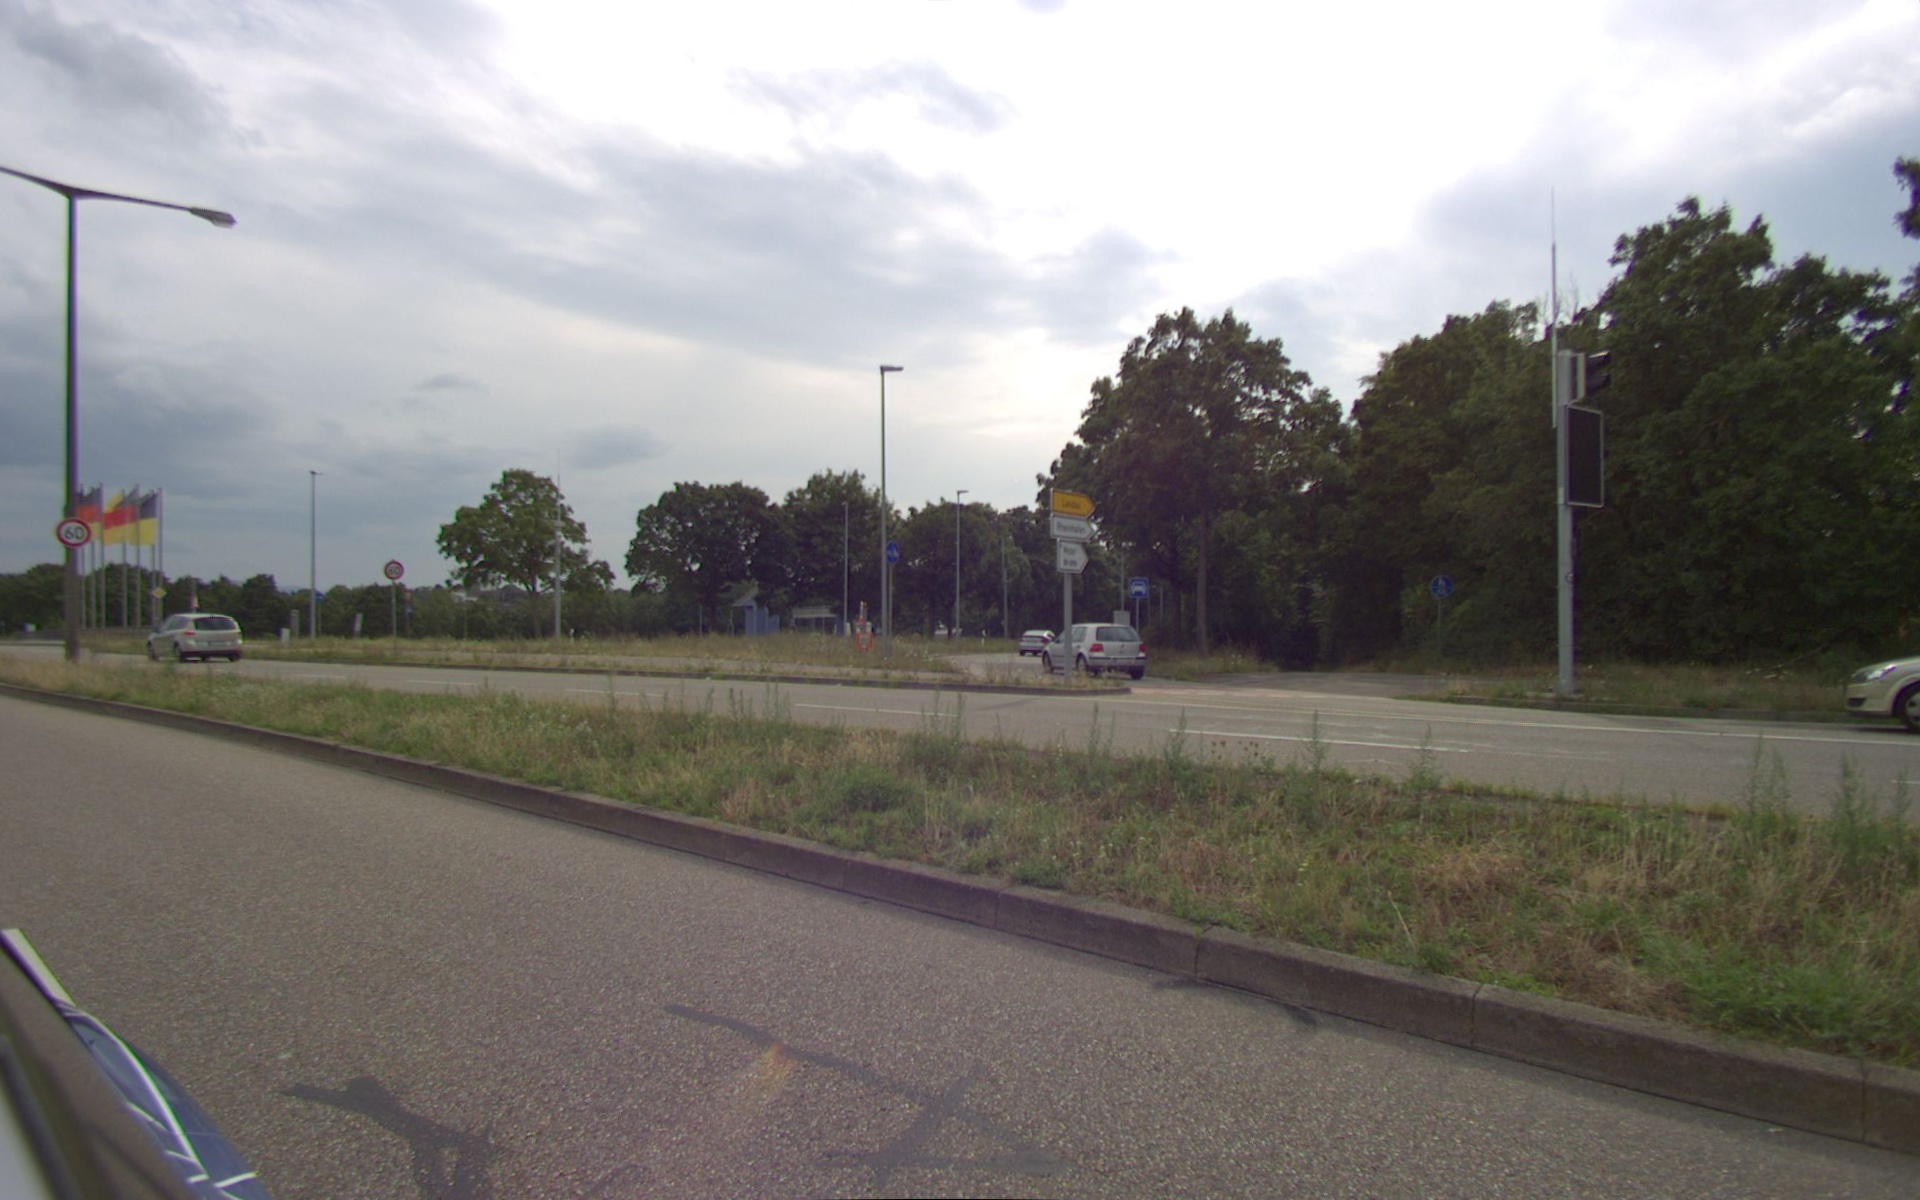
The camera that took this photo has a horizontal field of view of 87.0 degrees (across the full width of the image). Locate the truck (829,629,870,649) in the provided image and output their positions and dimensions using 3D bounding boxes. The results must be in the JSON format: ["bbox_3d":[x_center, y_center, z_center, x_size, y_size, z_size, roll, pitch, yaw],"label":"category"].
[{"bbox_3d":[-25.700,9.015,235.825,3.011,4.376,13.895,-2,-1,23],"label":"truck"}]

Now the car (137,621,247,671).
[{"bbox_3d":[-26.436,1.582,34.810,4.554,1.610,1.730,-2,-2,35],"label":"car"}]

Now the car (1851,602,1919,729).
[{"bbox_3d":[12.578,0.714,10.894,1.646,1.430,4.319,0,-1,-42],"label":"car"}]

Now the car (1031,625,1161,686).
[{"bbox_3d":[3.529,1.416,27.078,1.642,1.430,4.105,-1,-1,-21],"label":"car"}]

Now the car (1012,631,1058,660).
[{"bbox_3d":[4.166,2.470,55.620,1.734,1.457,4.440,-2,-2,14],"label":"car"}]
